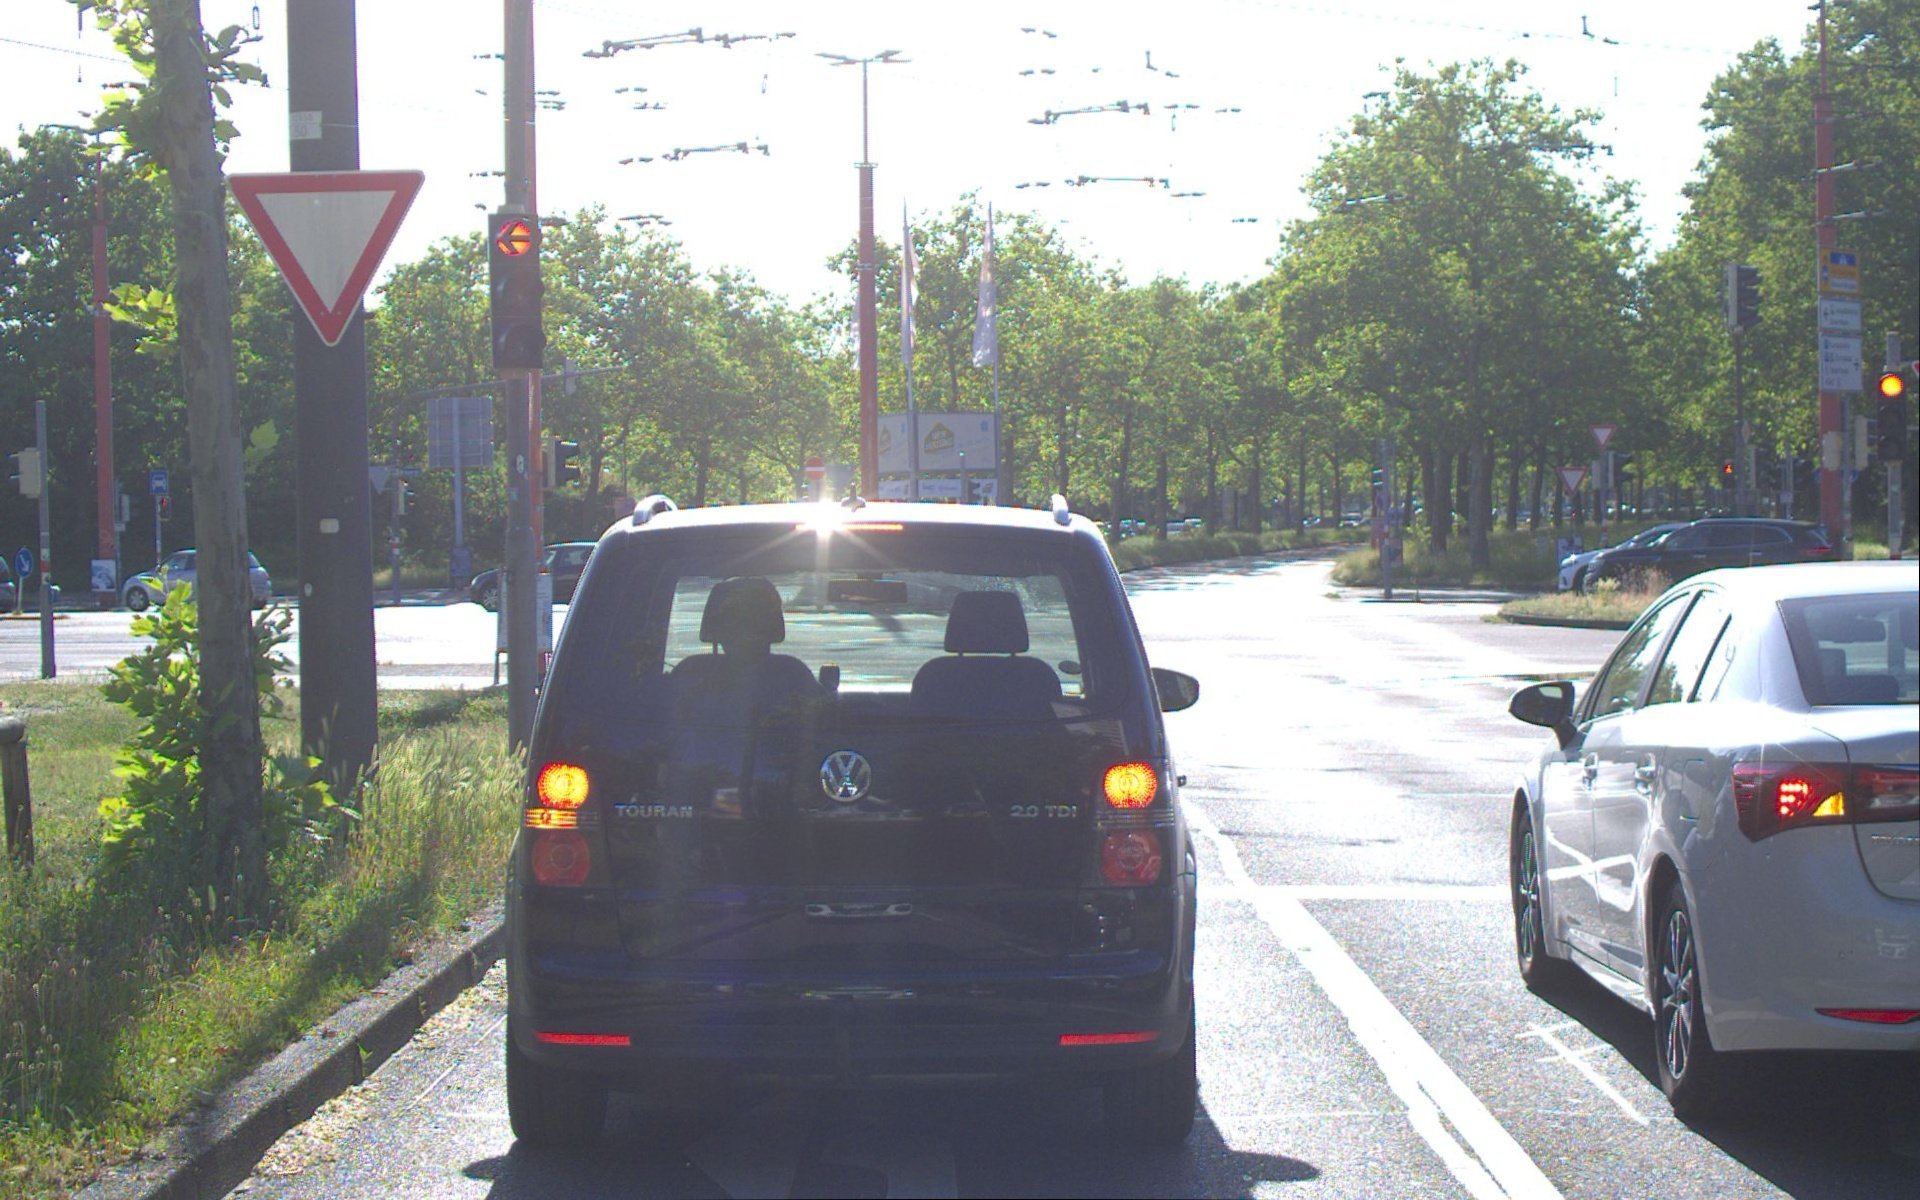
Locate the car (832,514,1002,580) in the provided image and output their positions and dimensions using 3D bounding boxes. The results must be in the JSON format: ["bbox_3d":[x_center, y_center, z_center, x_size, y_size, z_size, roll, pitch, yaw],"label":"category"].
[{"bbox_3d":[-0.935,-1.153,74.580,3.441,1.364,1.288,1,1,26],"label":"car"}]

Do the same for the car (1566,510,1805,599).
[{"bbox_3d":[14.081,-0.883,66.739,4.236,1.675,1.700,0,1,29],"label":"car"}]

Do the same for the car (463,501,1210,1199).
[{"bbox_3d":[-0.310,0.551,9.827,1.700,1.616,3.897,0,1,-1],"label":"car"}]

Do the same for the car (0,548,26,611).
[{"bbox_3d":[-23.817,-0.479,80.845,3.398,1.452,1.463,0,1,23],"label":"car"}]

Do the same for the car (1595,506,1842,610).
[{"bbox_3d":[13.982,-0.773,63.370,4.198,1.877,1.764,0,1,23],"label":"car"}]

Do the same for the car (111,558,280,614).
[{"bbox_3d":[-18.563,-0.349,83.425,3.834,1.260,1.601,1,1,26],"label":"car"}]

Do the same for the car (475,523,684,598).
[{"bbox_3d":[-8.213,-0.855,74.263,4.028,1.590,1.998,0,1,23],"label":"car"}]

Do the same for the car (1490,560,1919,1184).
[{"bbox_3d":[2.716,0.618,10.125,1.720,1.433,4.198,1,1,1],"label":"car"}]
